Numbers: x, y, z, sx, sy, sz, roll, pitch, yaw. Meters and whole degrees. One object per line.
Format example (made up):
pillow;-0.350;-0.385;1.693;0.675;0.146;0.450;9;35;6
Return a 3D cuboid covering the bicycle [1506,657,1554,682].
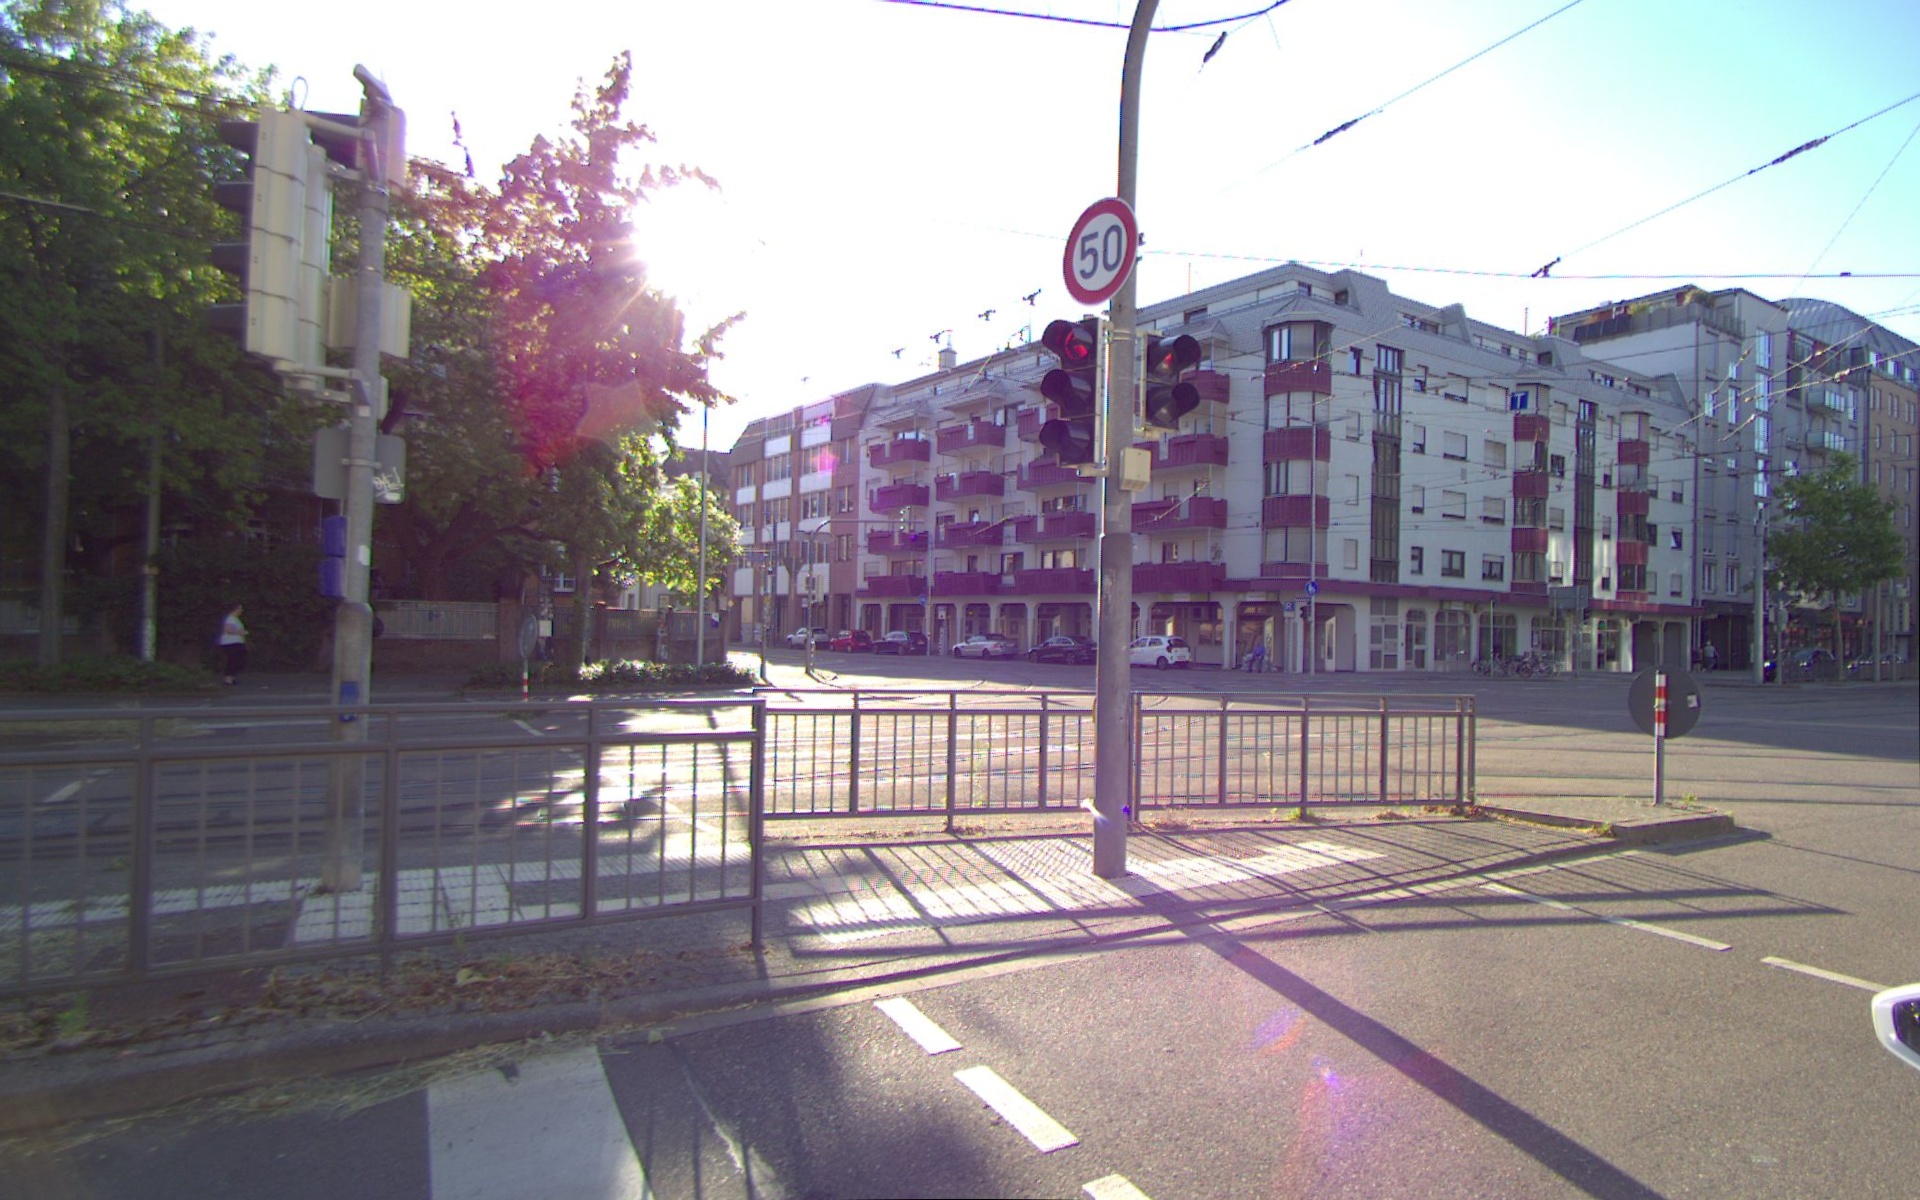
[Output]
bicycle;25.243;3.076;44.509;0.547;0.998;1.833;2;-2;-32

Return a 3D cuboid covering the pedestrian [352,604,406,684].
pedestrian;-13.301;0.999;22.990;1.009;1.775;0.729;2;-2;-33

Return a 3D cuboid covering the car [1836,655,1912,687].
car;49.150;3.802;54.019;4.212;1.616;1.945;2;-2;-32

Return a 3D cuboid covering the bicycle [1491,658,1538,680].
bicycle;24.182;3.013;43.831;0.546;0.865;1.836;2;-2;-28

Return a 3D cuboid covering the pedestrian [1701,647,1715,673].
pedestrian;44.130;3.552;59.253;0.581;1.514;0.531;2;-2;-34

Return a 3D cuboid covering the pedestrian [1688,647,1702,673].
pedestrian;43.711;3.542;59.720;0.581;1.514;0.531;2;-2;-34

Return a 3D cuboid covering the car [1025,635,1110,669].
car;5.350;2.603;50.370;1.983;1.576;4.078;2;-2;-38

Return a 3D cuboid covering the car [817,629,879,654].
car;-7.499;2.766;66.943;1.983;1.576;4.534;2;-2;-38

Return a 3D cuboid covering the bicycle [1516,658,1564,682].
bicycle;25.815;3.112;44.718;0.547;0.998;1.833;2;-2;-32

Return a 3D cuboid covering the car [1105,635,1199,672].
car;8.804;2.454;46.267;1.983;1.576;3.956;2;-2;-38

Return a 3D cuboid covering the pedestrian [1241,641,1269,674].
pedestrian;12.698;2.471;43.192;0.830;1.402;0.849;2;-2;-41

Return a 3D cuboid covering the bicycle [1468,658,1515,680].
bicycle;23.273;3.005;43.977;0.546;0.865;1.836;2;-2;-28

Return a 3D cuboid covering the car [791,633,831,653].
car;-10.522;2.999;70.701;1.447;1.351;3.149;2;-2;-37

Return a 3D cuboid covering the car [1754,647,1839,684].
car;40.385;3.142;48.494;4.212;1.694;1.945;2;-2;-32

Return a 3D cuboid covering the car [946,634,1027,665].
car;1.407;2.683;55.255;1.983;1.576;4.534;2;-2;-38

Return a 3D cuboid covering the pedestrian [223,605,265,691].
pedestrian;-14.581;0.970;20.457;0.625;1.687;0.564;2;1;-33

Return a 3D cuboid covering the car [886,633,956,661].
car;-2.399;2.814;60.583;1.983;1.576;4.534;2;-2;-38
